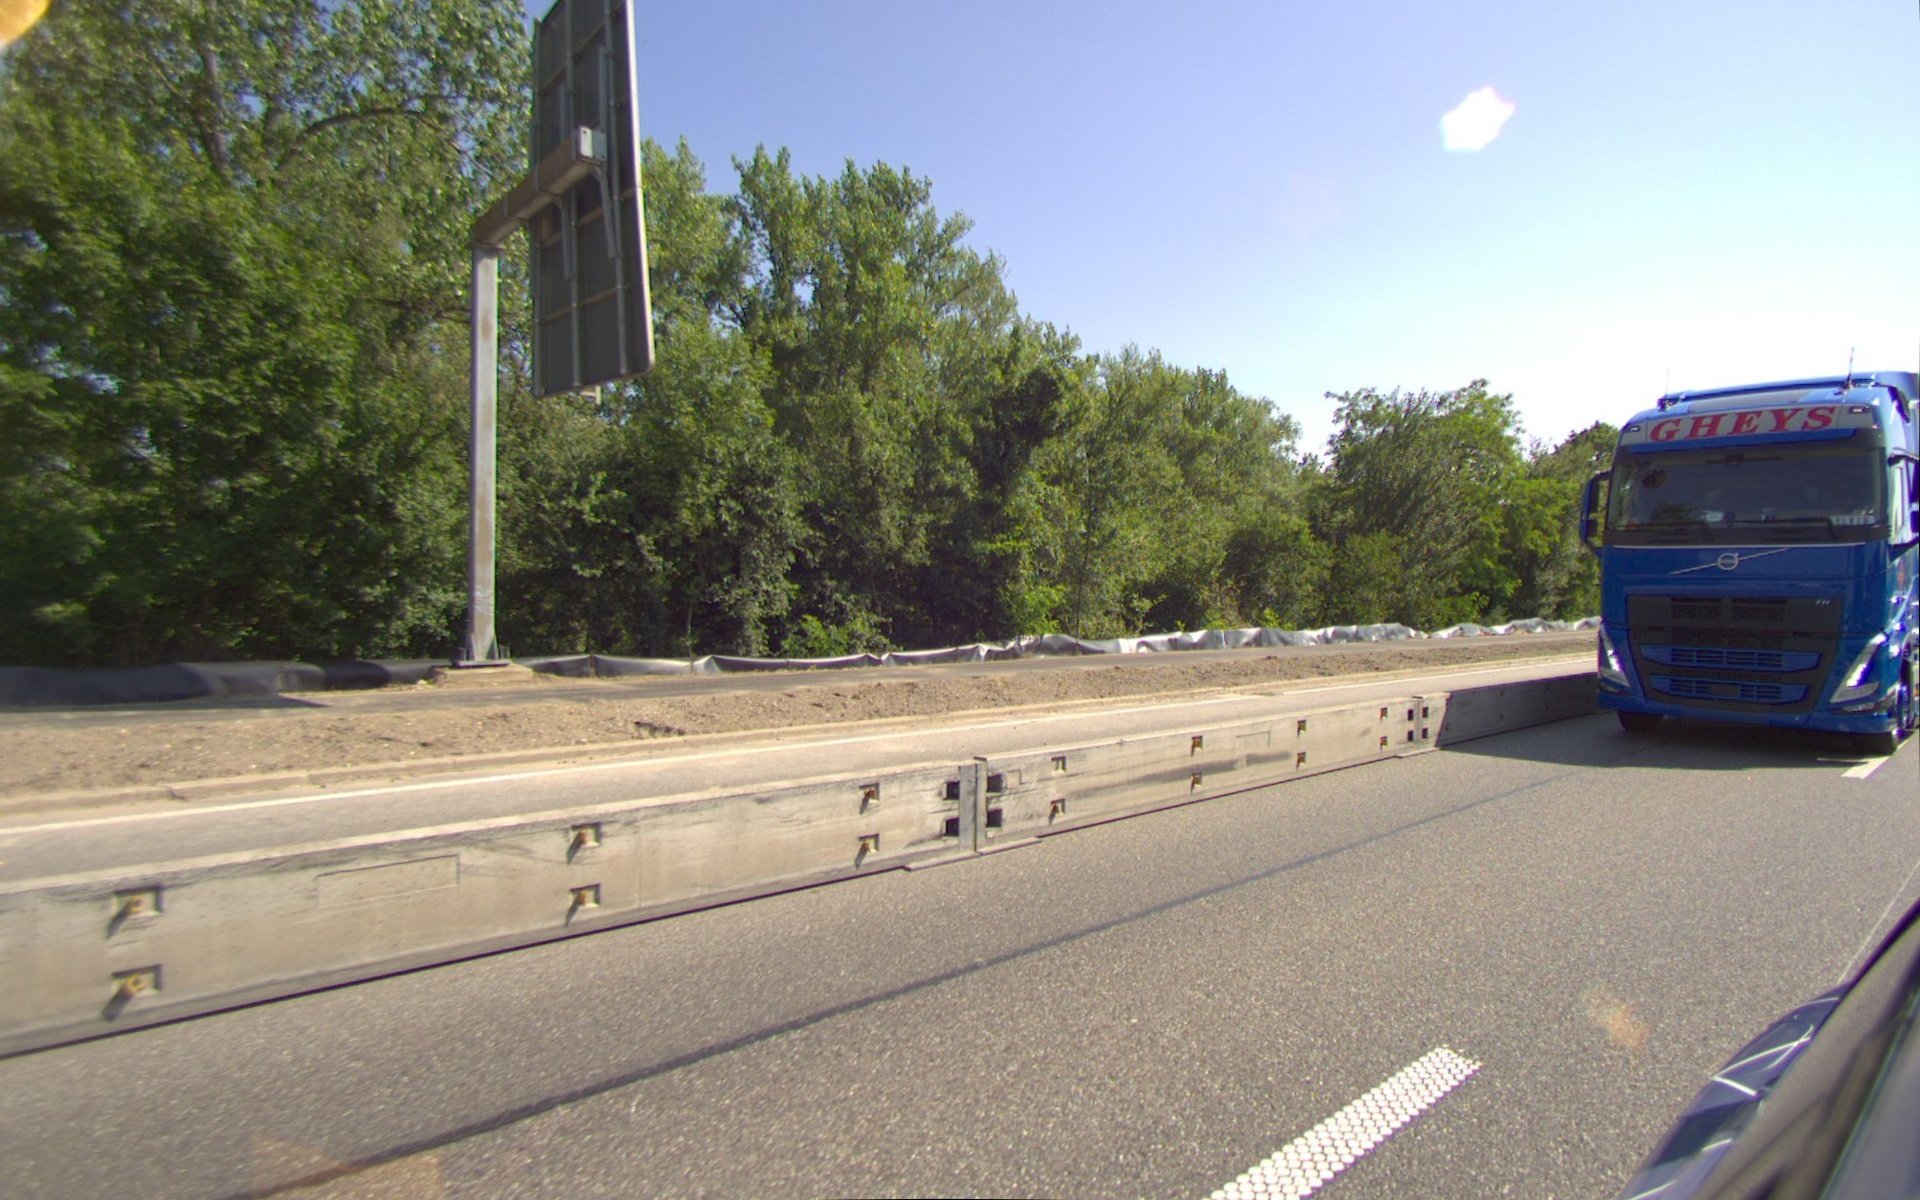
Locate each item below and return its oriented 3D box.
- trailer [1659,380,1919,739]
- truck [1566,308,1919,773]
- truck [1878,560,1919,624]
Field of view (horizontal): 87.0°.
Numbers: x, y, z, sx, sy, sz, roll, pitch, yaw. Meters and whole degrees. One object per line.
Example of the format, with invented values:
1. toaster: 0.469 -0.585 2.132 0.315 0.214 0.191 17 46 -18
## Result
1. trailer: 15.116 -0.503 16.816 12.395 4.187 2.700 1 3 -42
2. truck: 10.256 -0.580 12.440 7.175 4.152 2.699 1 3 -43
3. truck: 63.737 -0.476 67.694 2.851 4.033 8.541 4 3 40
